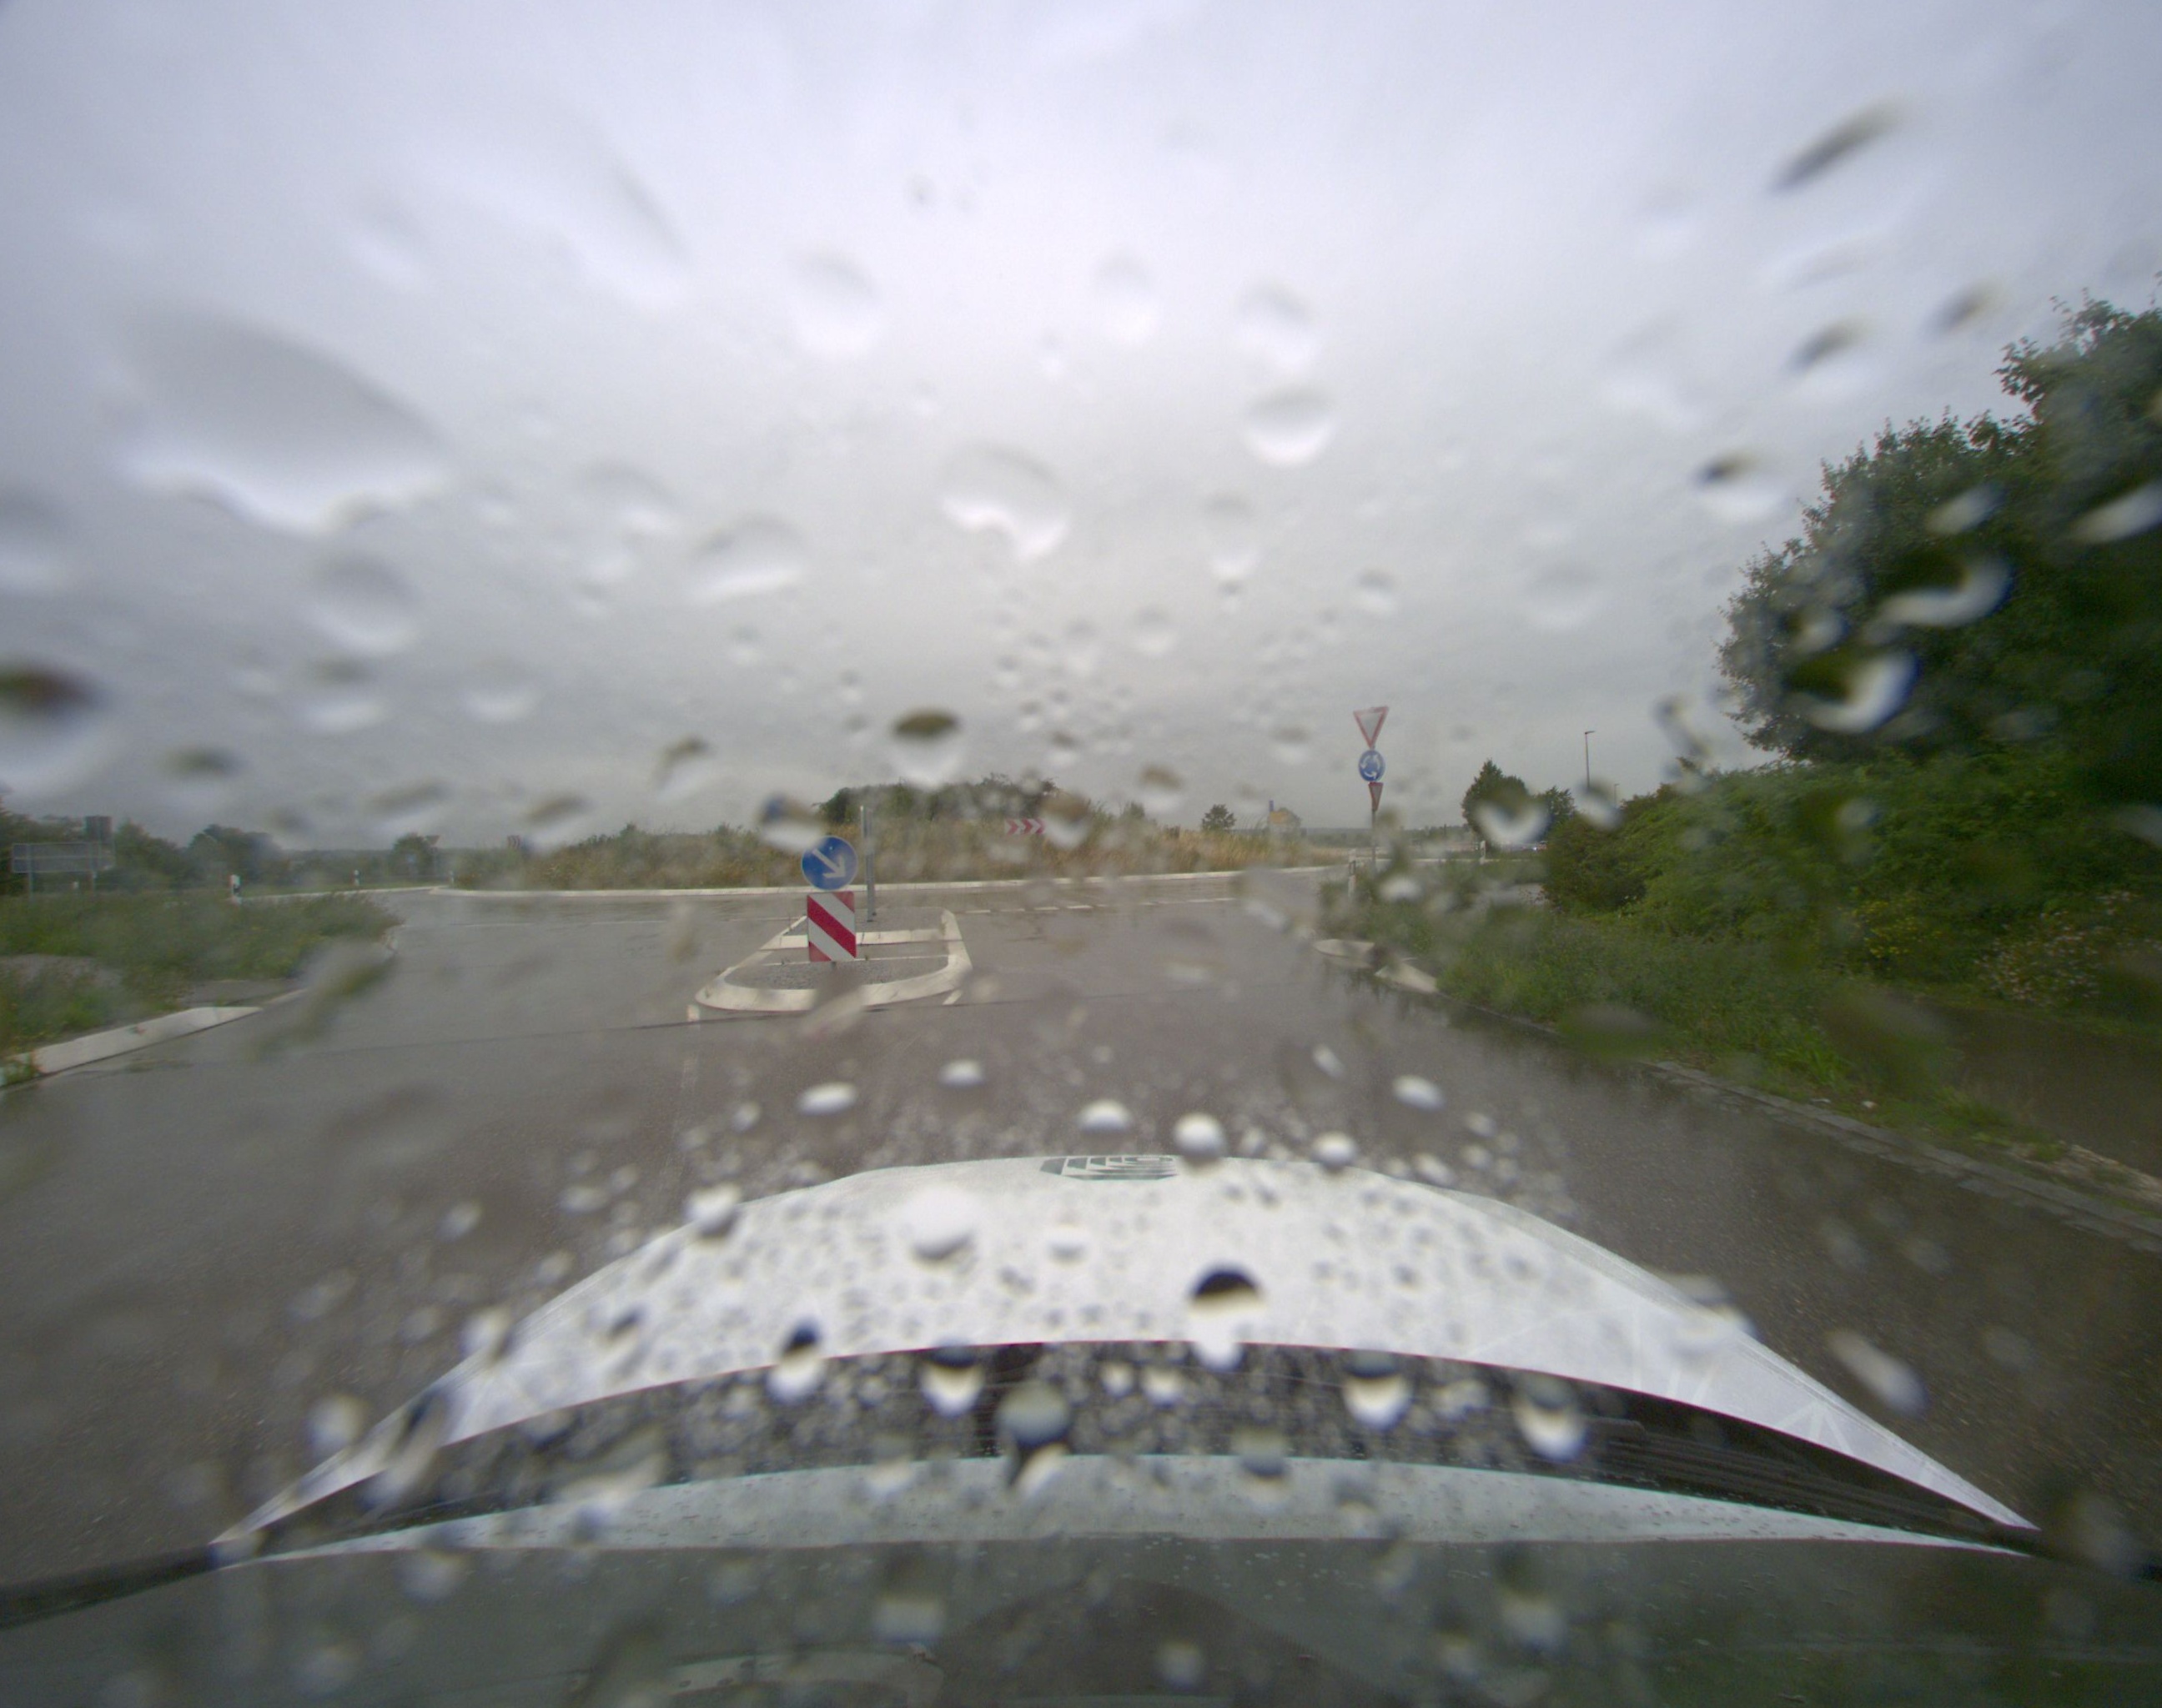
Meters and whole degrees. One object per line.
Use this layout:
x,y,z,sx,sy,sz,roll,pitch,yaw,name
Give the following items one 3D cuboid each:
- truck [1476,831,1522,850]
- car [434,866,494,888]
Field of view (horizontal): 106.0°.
55.728,-1.773,108.483,8.457,2.223,2.489,-3,0,-41,truck
-46.699,1.733,61.600,4.267,1.427,1.661,-2,0,23,car
